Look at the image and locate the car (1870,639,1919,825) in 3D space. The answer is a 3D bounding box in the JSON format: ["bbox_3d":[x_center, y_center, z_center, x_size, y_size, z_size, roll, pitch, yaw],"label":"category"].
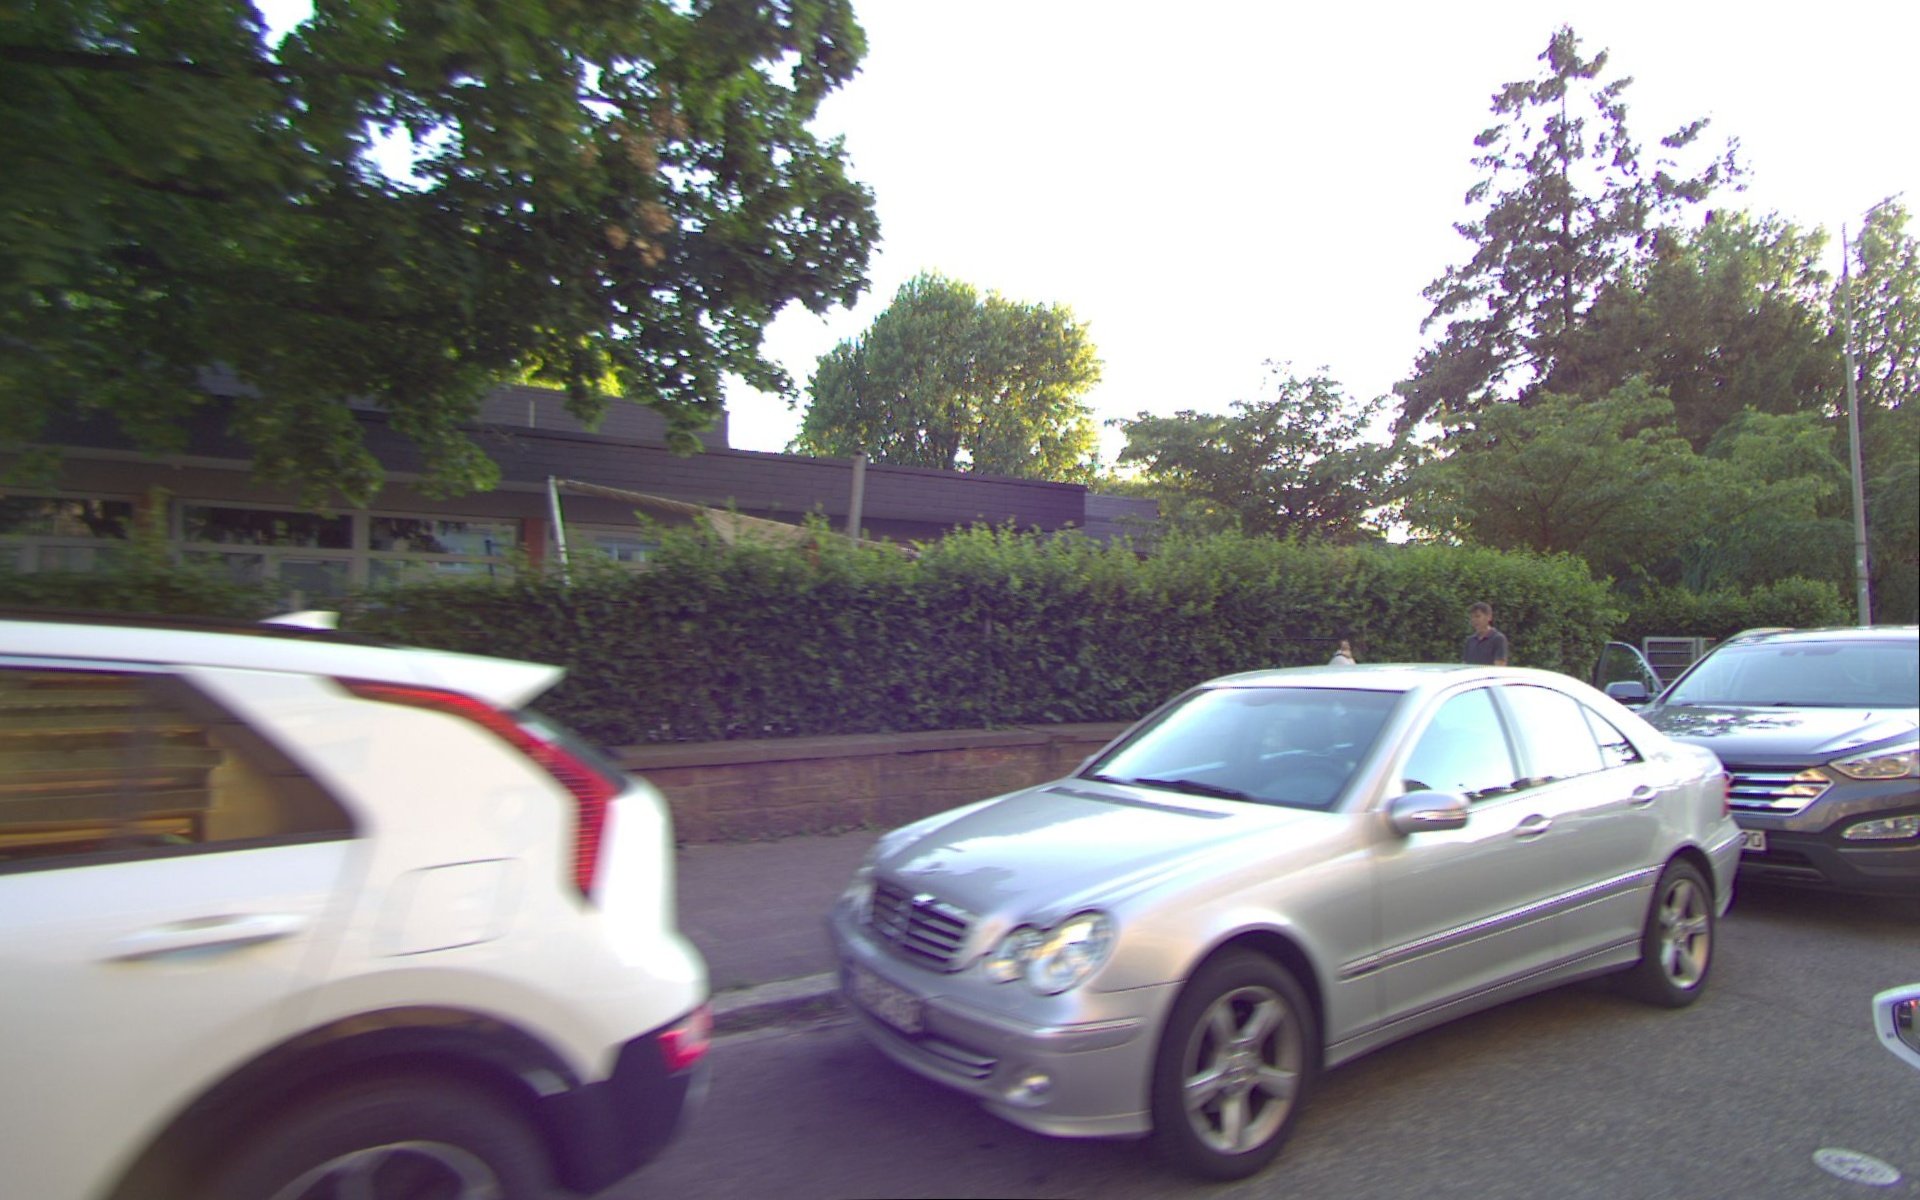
[{"bbox_3d":[10.252,1.154,9.265,4.123,1.587,1.724,2,-4,-33],"label":"car"}]

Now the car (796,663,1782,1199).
[{"bbox_3d":[1.602,1.012,4.287,4.241,1.445,1.724,2,-4,-33],"label":"car"}]

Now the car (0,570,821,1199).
[{"bbox_3d":[-2.544,0.763,1.823,4.235,1.563,1.749,2,-4,-33],"label":"car"}]

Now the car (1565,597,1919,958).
[{"bbox_3d":[6.054,0.960,6.723,4.277,1.753,1.724,2,-4,-33],"label":"car"}]

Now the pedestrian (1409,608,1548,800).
[{"bbox_3d":[5.046,0.975,9.813,0.738,1.755,0.898,2,1,-17],"label":"pedestrian"}]

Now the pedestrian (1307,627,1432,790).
[{"bbox_3d":[4.139,1.057,10.167,0.892,1.528,0.744,2,1,-32],"label":"pedestrian"}]
